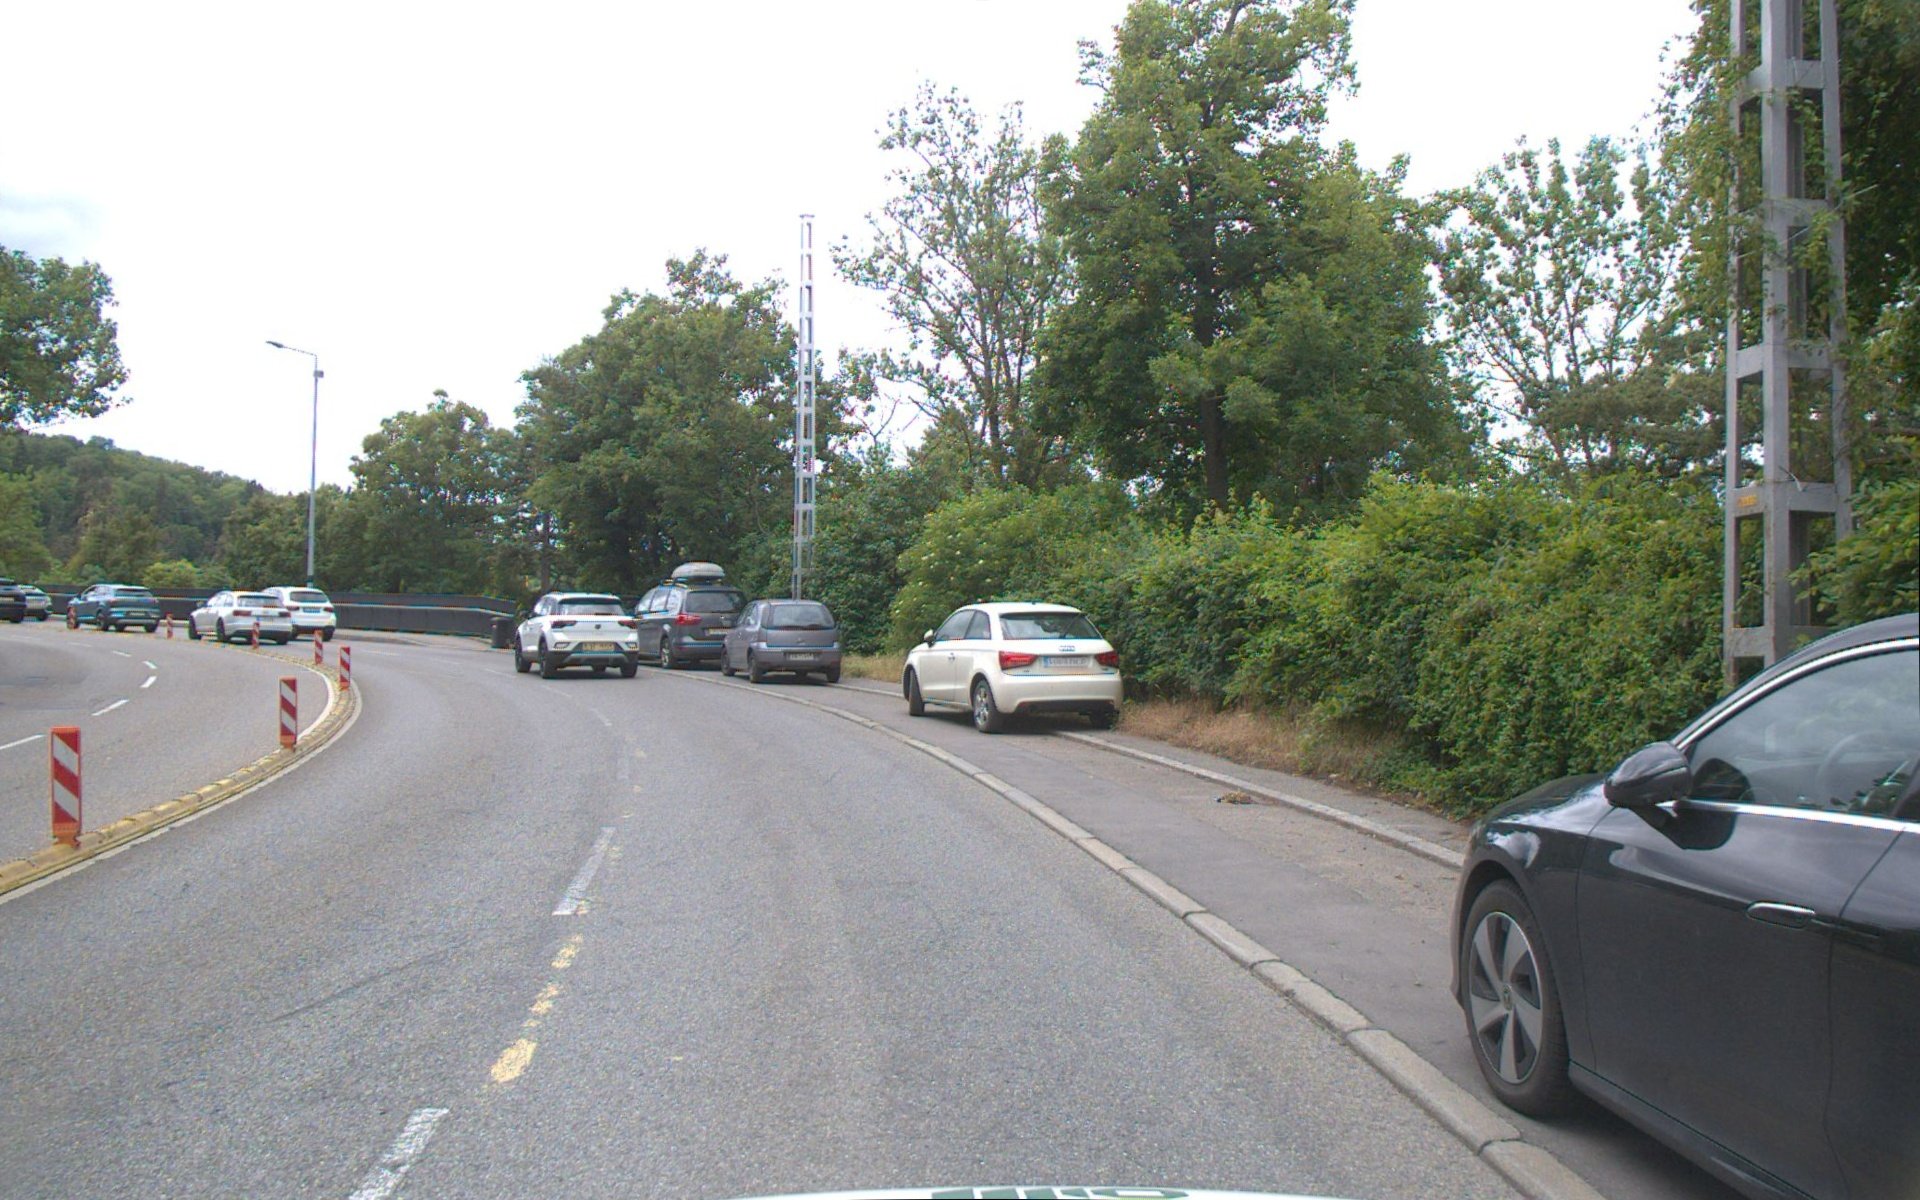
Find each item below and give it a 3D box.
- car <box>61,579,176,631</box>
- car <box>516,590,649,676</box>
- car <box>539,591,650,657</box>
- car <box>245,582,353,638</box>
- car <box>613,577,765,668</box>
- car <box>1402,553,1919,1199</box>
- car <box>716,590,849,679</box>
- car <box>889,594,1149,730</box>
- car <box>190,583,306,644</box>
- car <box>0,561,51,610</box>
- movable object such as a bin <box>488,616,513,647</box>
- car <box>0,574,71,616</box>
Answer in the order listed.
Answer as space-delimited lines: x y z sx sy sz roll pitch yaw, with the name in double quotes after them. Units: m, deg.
-28.501 0.158 55.974 3.934 1.568 1.990 2 -1 39 "car"
-7.323 0.583 31.853 1.842 1.563 3.775 0 0 -24 "car"
-9.045 0.558 40.732 1.641 1.513 3.997 2 -1 -28 "car"
-21.074 0.317 52.676 1.982 1.614 3.941 4 -2 -40 "car"
-5.860 0.452 35.336 1.778 1.803 4.563 2 -1 -29 "car"
2.490 0.655 3.326 1.667 1.489 4.660 0 0 -4 "car"
-3.315 0.607 30.206 1.615 1.490 3.979 2 -1 -18 "car"
0.596 0.667 20.064 1.751 1.443 3.975 -1 0 -21 "car"
-20.535 0.378 47.638 1.896 1.601 3.940 4 -2 -41 "car"
-36.535 -0.582 63.066 3.923 1.719 1.813 2 -1 38 "car"
-14.118 0.967 50.824 0.517 0.896 0.525 4 -2 -39 "movable object such as a bin"
-38.231 -0.232 67.316 3.452 1.552 1.700 2 -1 21 "car"
